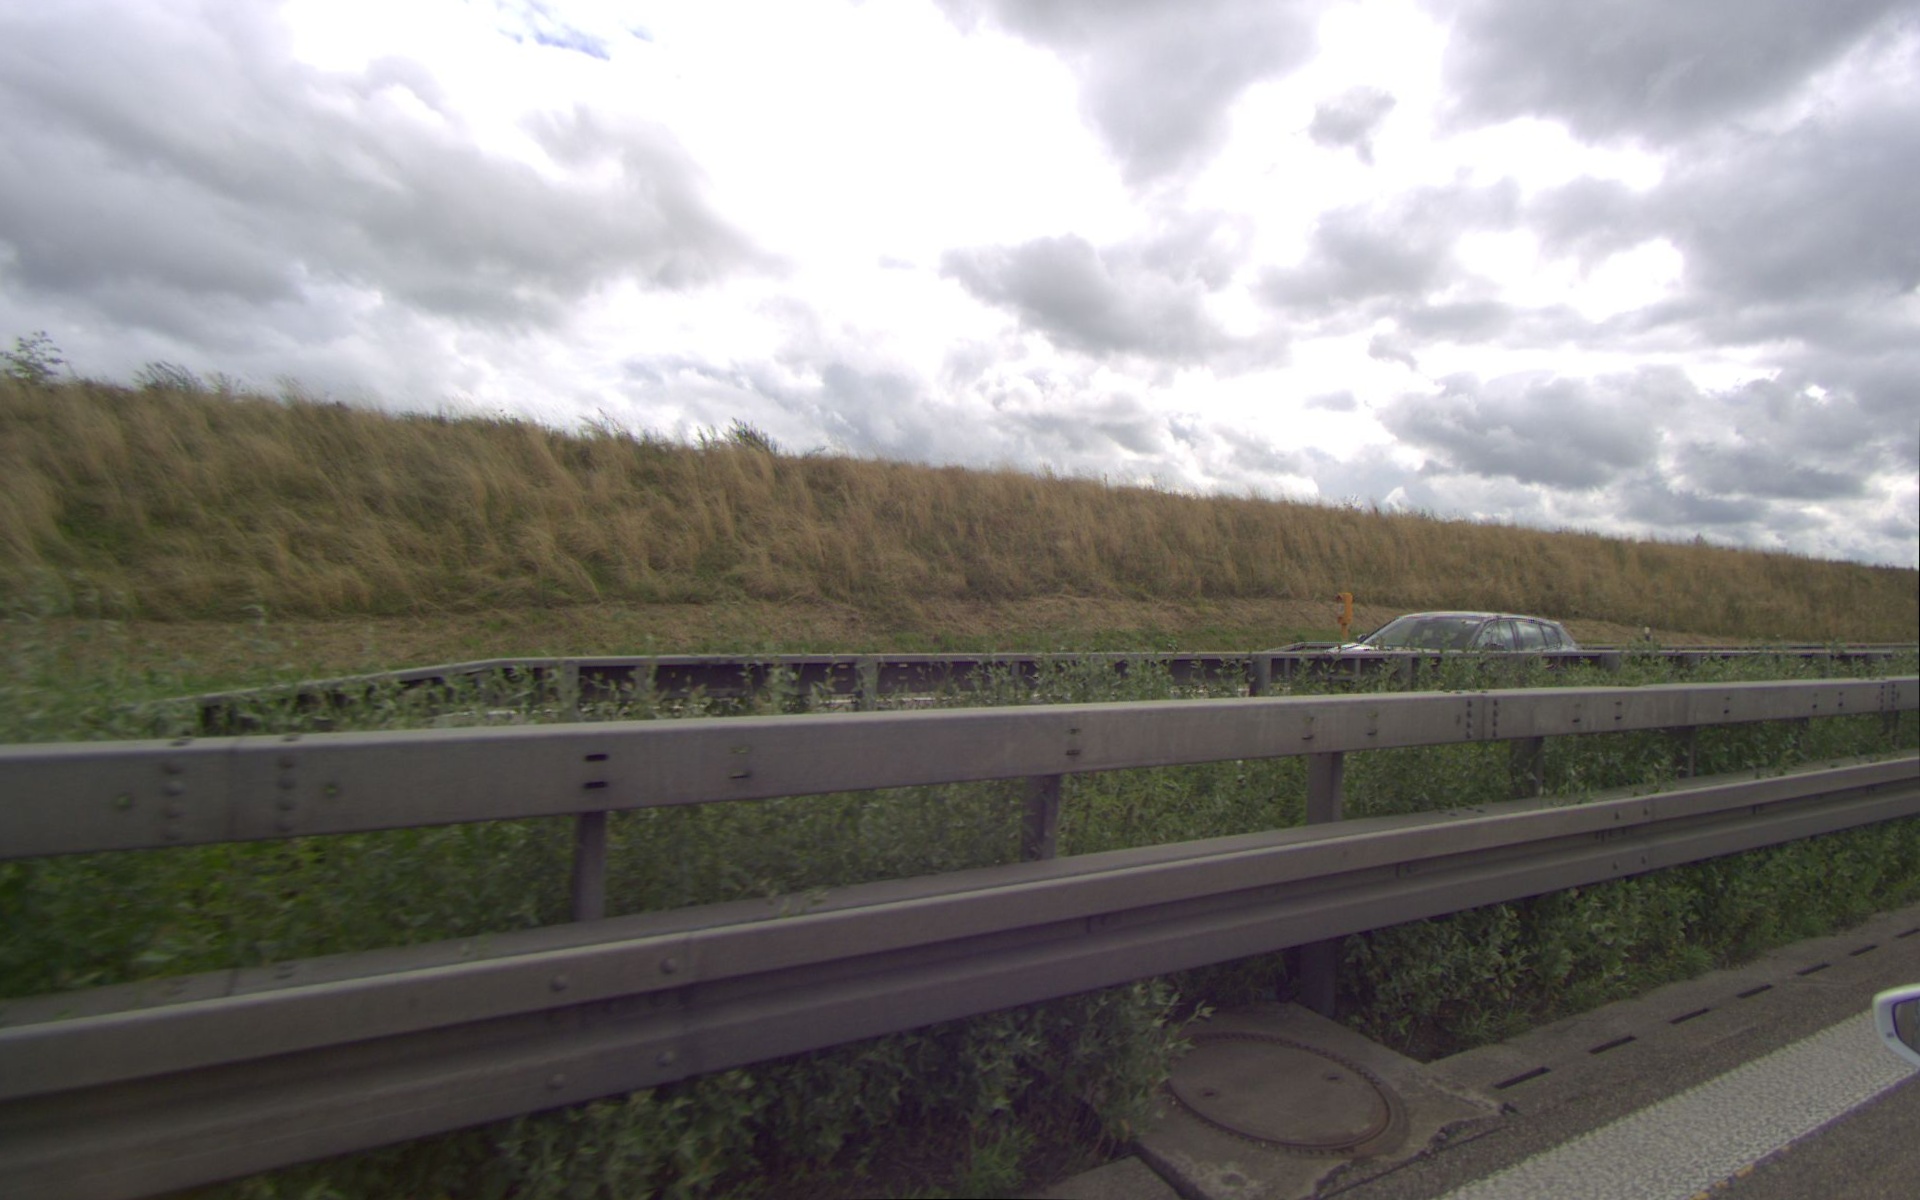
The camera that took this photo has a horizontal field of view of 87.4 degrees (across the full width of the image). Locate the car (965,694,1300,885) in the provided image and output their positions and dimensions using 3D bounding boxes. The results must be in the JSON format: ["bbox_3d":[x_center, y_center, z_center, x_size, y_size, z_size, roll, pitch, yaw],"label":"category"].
[{"bbox_3d":[2.222,2.224,12.669,3.954,1.840,1.728,2,0,-31],"label":"car"}]

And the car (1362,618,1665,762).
[{"bbox_3d":[7.379,1.115,13.318,3.954,1.611,1.728,2,0,-31],"label":"car"}]

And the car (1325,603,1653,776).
[{"bbox_3d":[6.751,1.039,12.747,3.953,1.855,1.848,2,0,-30],"label":"car"}]
